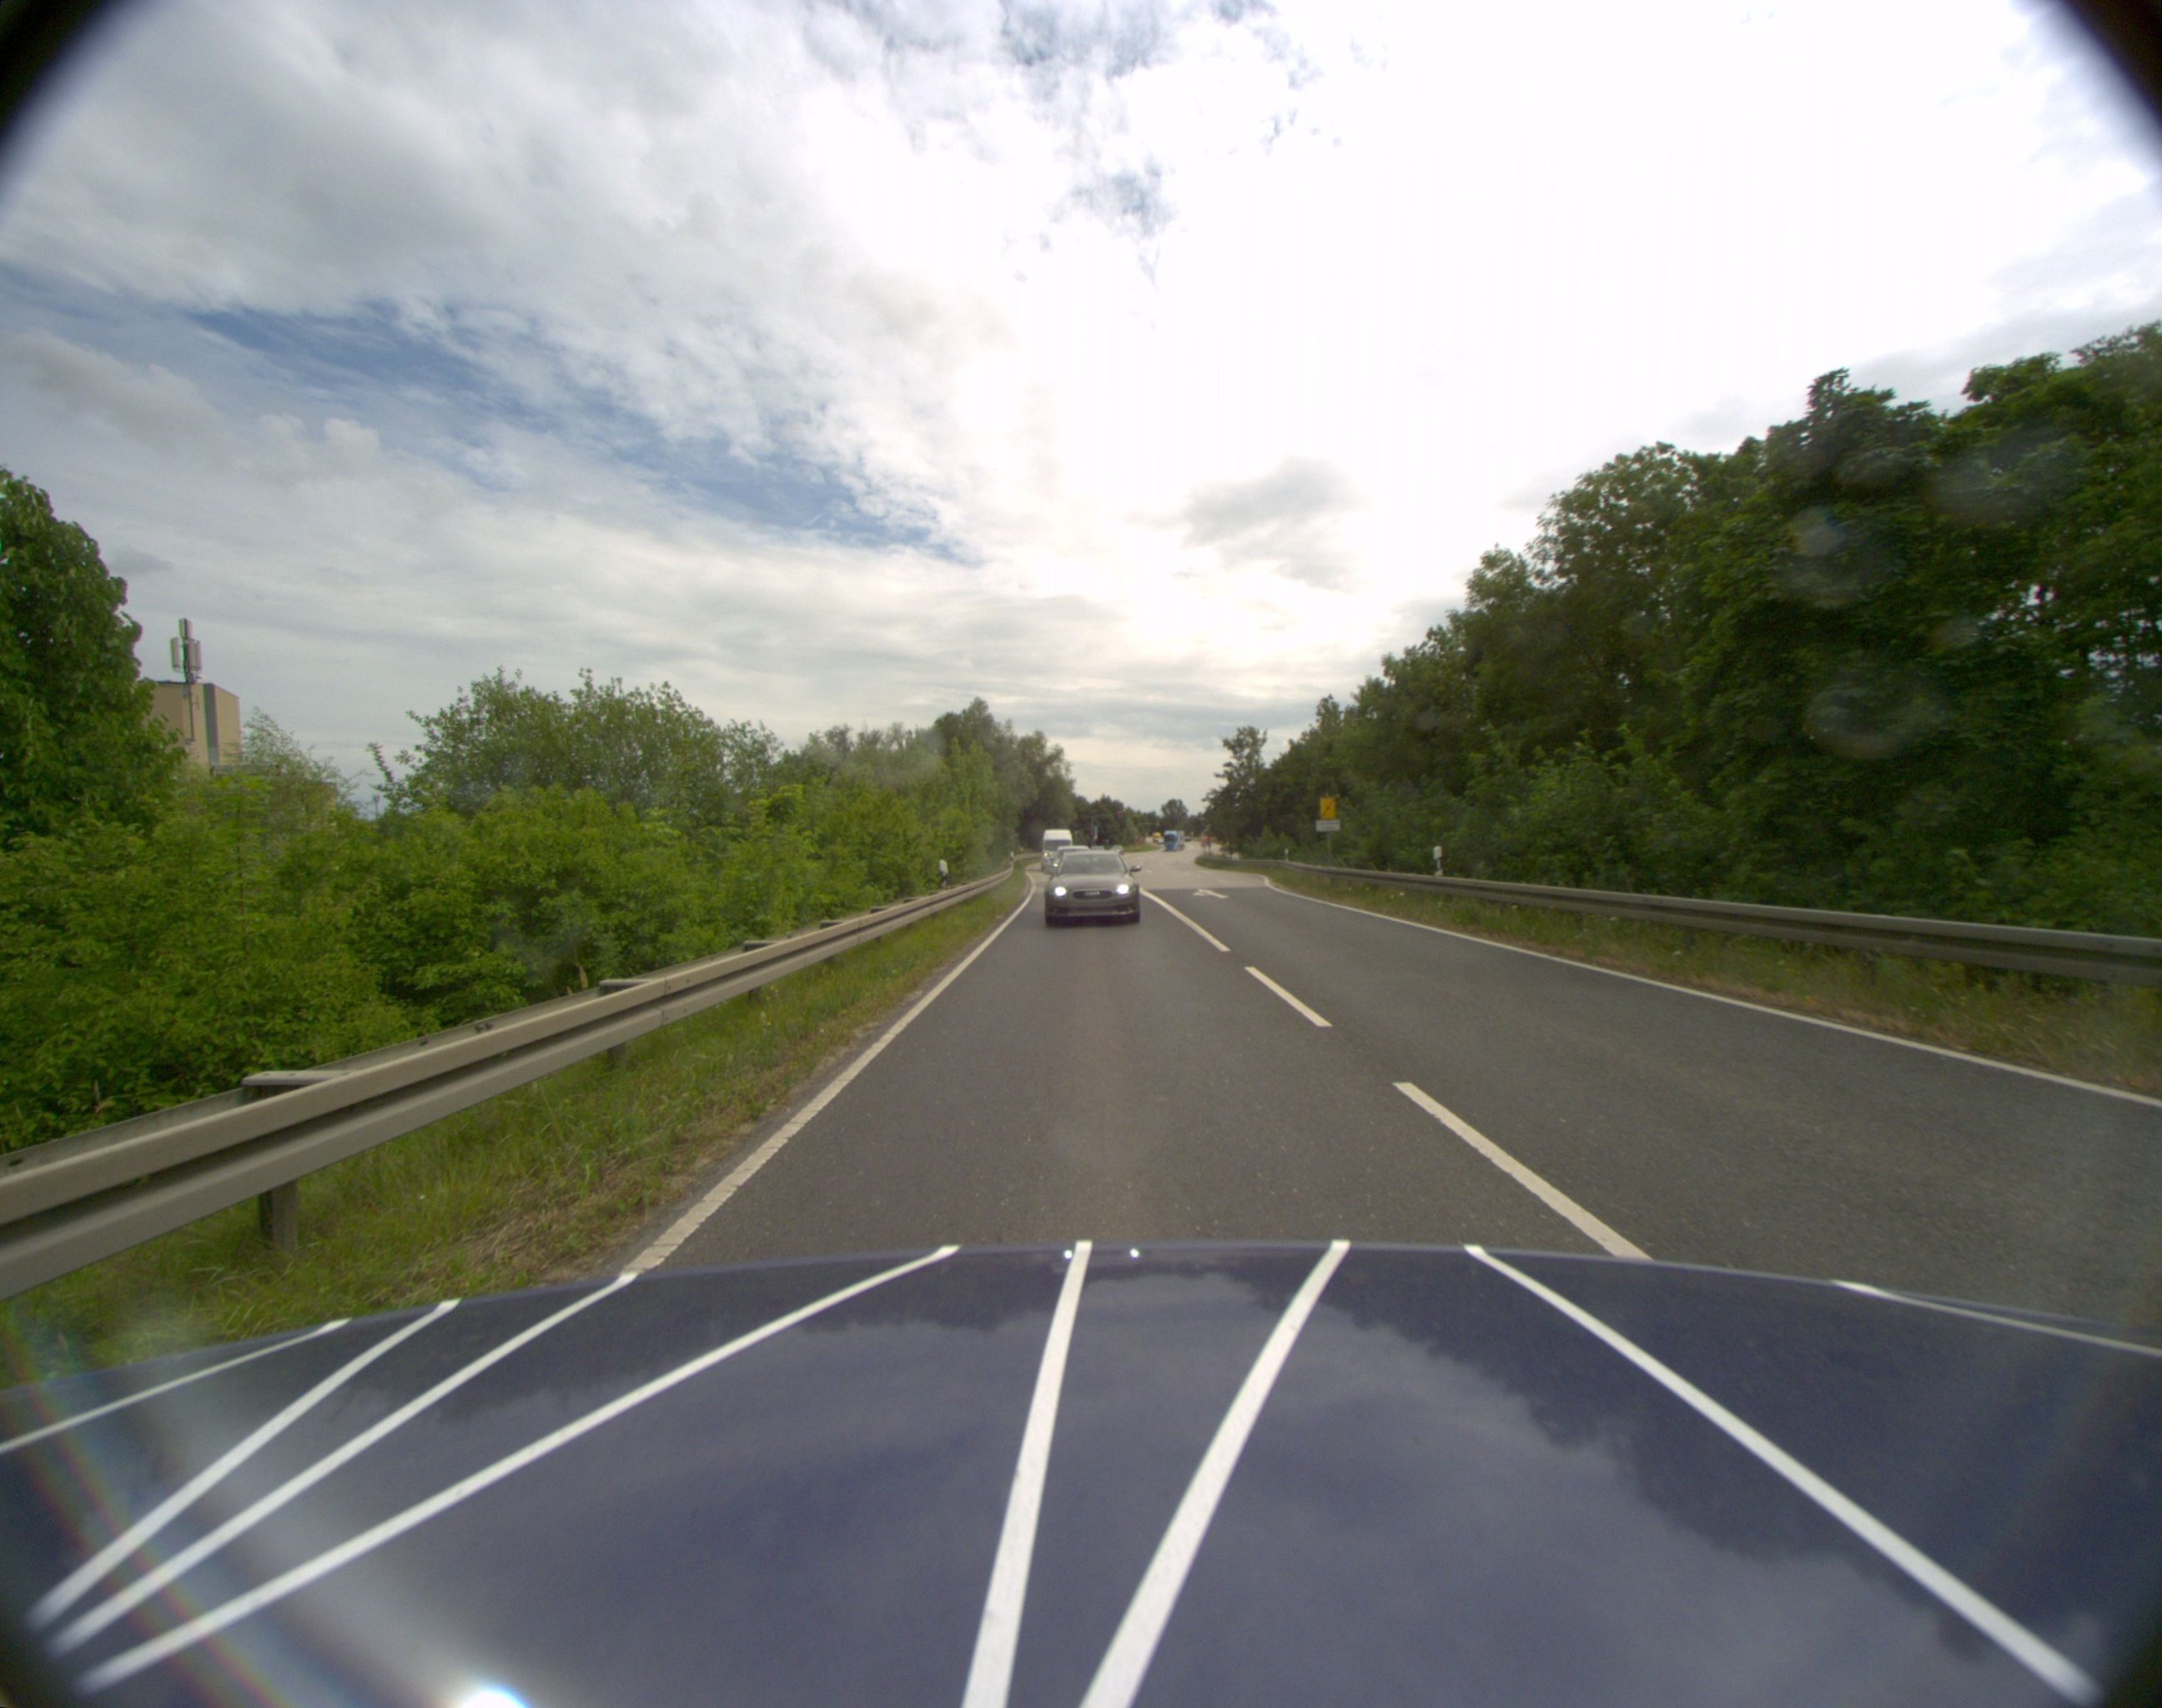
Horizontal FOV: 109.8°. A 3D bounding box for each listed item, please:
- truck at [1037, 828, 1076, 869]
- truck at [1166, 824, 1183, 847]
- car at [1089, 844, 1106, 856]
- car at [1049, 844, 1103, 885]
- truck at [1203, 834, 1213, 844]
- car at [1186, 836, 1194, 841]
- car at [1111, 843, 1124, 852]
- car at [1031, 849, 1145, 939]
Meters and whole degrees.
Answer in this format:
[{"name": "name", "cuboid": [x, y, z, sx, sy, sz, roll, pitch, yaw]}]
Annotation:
[{"name": "truck", "cuboid": [-1.623, -0.430, 50.860, 2.379, 2.579, 5.996, 1, 2, -1]}, {"name": "truck", "cuboid": [18.696, -3.672, 152.064, 3.024, 4.326, 9.575, 1, 2, 9]}, {"name": "car", "cuboid": [2.039, -0.469, 92.426, 1.743, 1.317, 4.001, 3, 1, 5]}, {"name": "car", "cuboid": [-0.136, 0.385, 31.875, 1.826, 1.489, 4.225, 2, 1, 5]}, {"name": "truck", "cuboid": [35.374, -4.105, 211.630, 2.321, 2.586, 6.024, 1, 1, 5]}, {"name": "car", "cuboid": [34.961, -4.998, 244.148, 1.921, 1.562, 3.998, 1, 2, -2]}, {"name": "car", "cuboid": [5.523, -1.023, 114.995, 1.743, 1.317, 4.000, 3, 1, 4]}, {"name": "car", "cuboid": [0.322, 0.694, 15.711, 1.964, 1.447, 4.797, -2, 1, 5]}]
